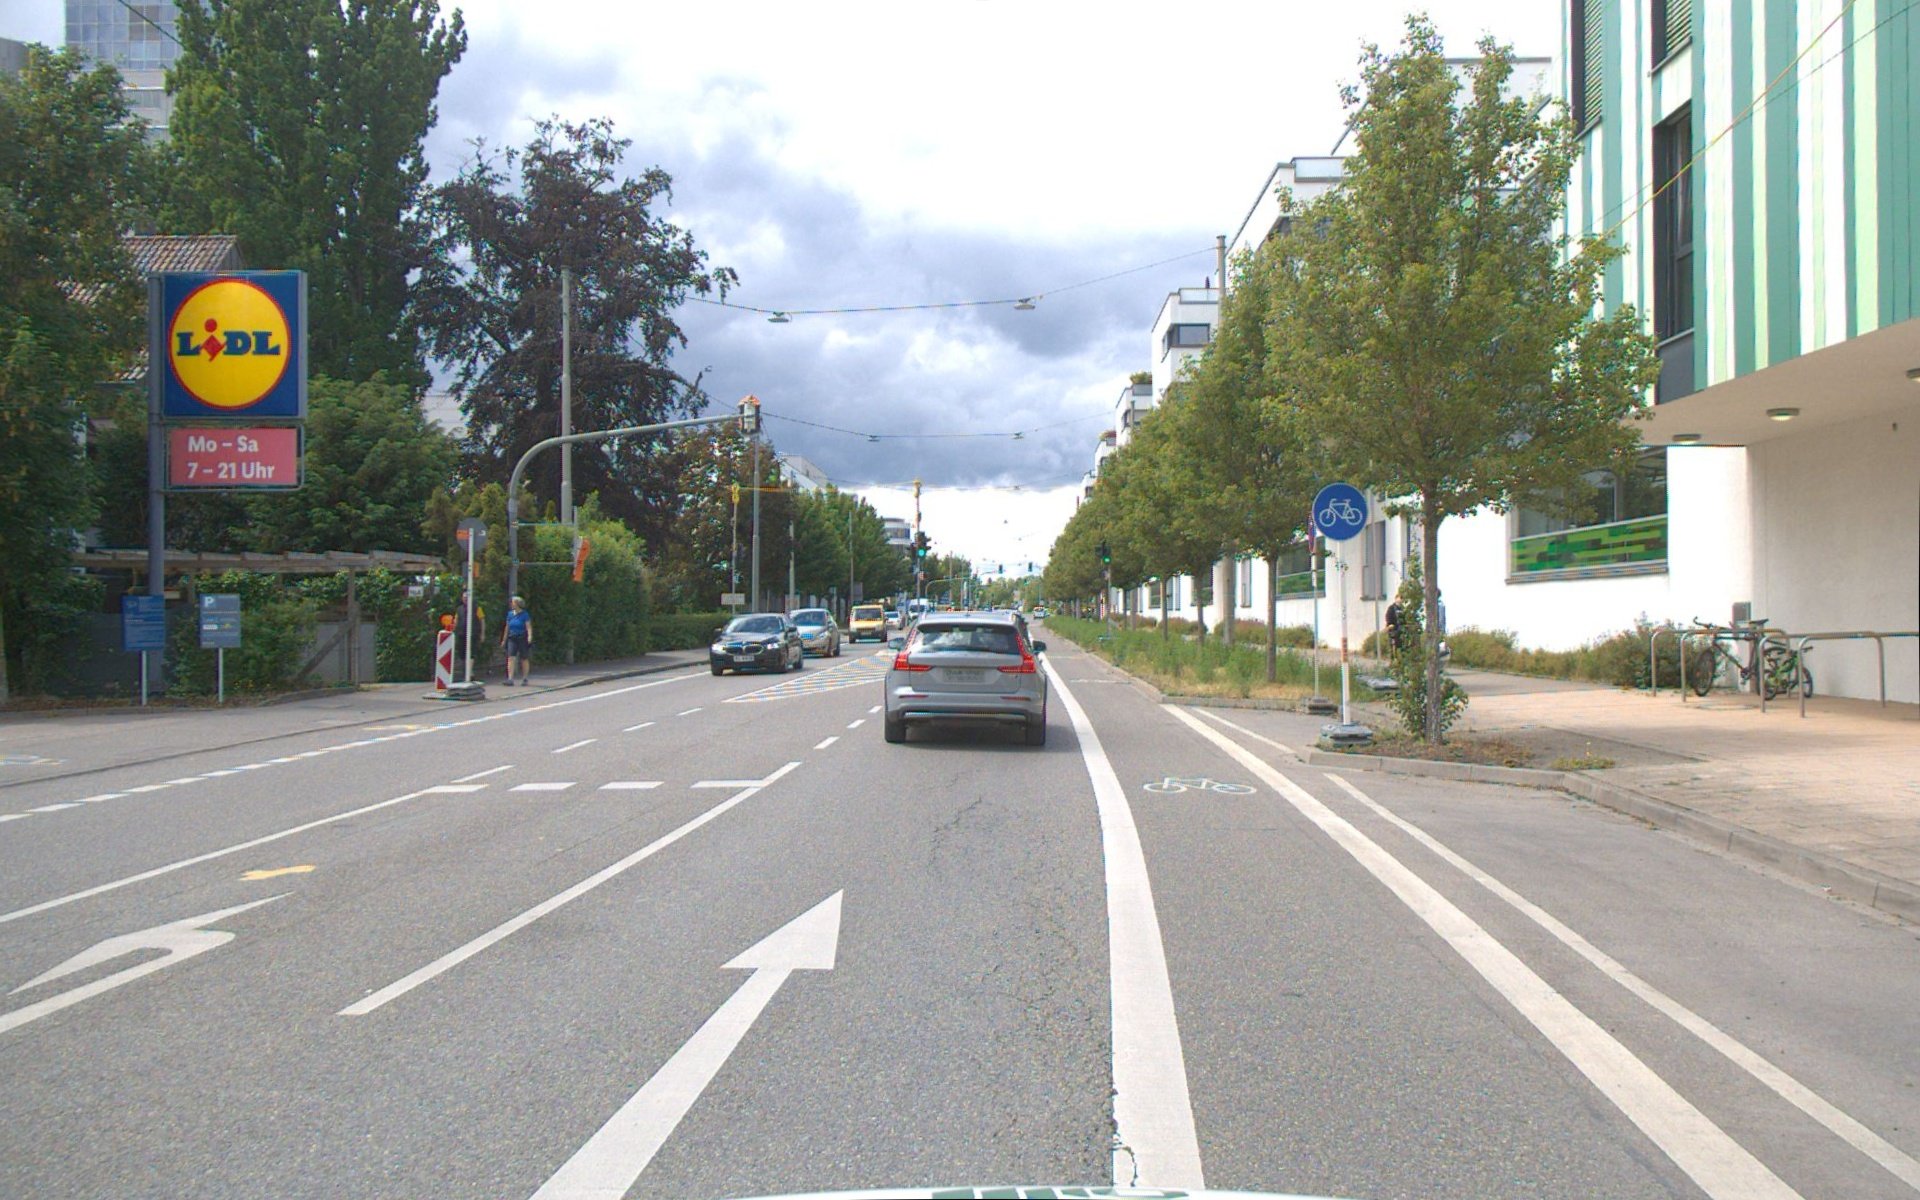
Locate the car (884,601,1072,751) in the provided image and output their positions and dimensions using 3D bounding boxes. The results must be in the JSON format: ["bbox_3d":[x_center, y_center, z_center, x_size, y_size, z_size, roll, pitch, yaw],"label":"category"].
[{"bbox_3d":[0.324,0.818,19.688,1.815,1.539,4.003,2,0,6],"label":"car"}]

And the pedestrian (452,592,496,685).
[{"bbox_3d":[-10.061,0.786,34.239,0.667,1.887,0.707,-1,-1,2],"label":"pedestrian"}]

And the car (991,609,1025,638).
[{"bbox_3d":[2.629,1.287,91.092,1.807,1.539,4.000,0,0,1],"label":"car"}]

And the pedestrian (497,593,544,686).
[{"bbox_3d":[-9.091,0.817,34.235,0.667,1.887,0.892,-1,-1,2],"label":"pedestrian"}]

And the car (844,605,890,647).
[{"bbox_3d":[-4.414,1.227,79.166,1.803,1.938,4.686,-1,0,2],"label":"car"}]

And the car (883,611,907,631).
[{"bbox_3d":[-5.193,1.648,132.517,1.626,1.542,4.001,0,0,2],"label":"car"}]

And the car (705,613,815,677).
[{"bbox_3d":[-4.921,1.074,41.316,1.952,1.424,4.812,-3,-1,2],"label":"car"}]

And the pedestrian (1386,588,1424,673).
[{"bbox_3d":[8.932,0.616,33.236,0.592,1.684,0.552,-1,-1,1],"label":"pedestrian"}]

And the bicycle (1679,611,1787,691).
[{"bbox_3d":[10.796,0.700,23.094,1.438,1.064,0.306,-1,0,-11],"label":"bicycle"}]

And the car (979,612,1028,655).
[{"bbox_3d":[1.639,1.251,63.102,1.816,1.539,4.000,0,0,1],"label":"car"}]

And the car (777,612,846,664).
[{"bbox_3d":[-4.857,1.221,54.729,1.713,1.583,4.403,-1,0,2],"label":"car"}]

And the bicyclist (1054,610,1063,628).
[{"bbox_3d":[11.623,2.199,195.125,0.993,2.049,1.131,-2,-1,1],"label":"bicyclist"}]

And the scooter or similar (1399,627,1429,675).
[{"bbox_3d":[8.945,0.999,32.593,0.413,0.921,0.682,-1,-1,1],"label":"scooter or similar"}]

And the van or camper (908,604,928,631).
[{"bbox_3d":[-4.399,1.828,173.895,1.954,2.782,6.049,-1,0,-2],"label":"van or camper"}]

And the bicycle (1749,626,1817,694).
[{"bbox_3d":[10.950,0.794,22.009,1.011,0.856,0.304,-1,0,-31],"label":"bicycle"}]

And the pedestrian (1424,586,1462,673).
[{"bbox_3d":[9.496,0.585,32.545,0.539,1.684,0.607,-1,-1,1],"label":"pedestrian"}]
